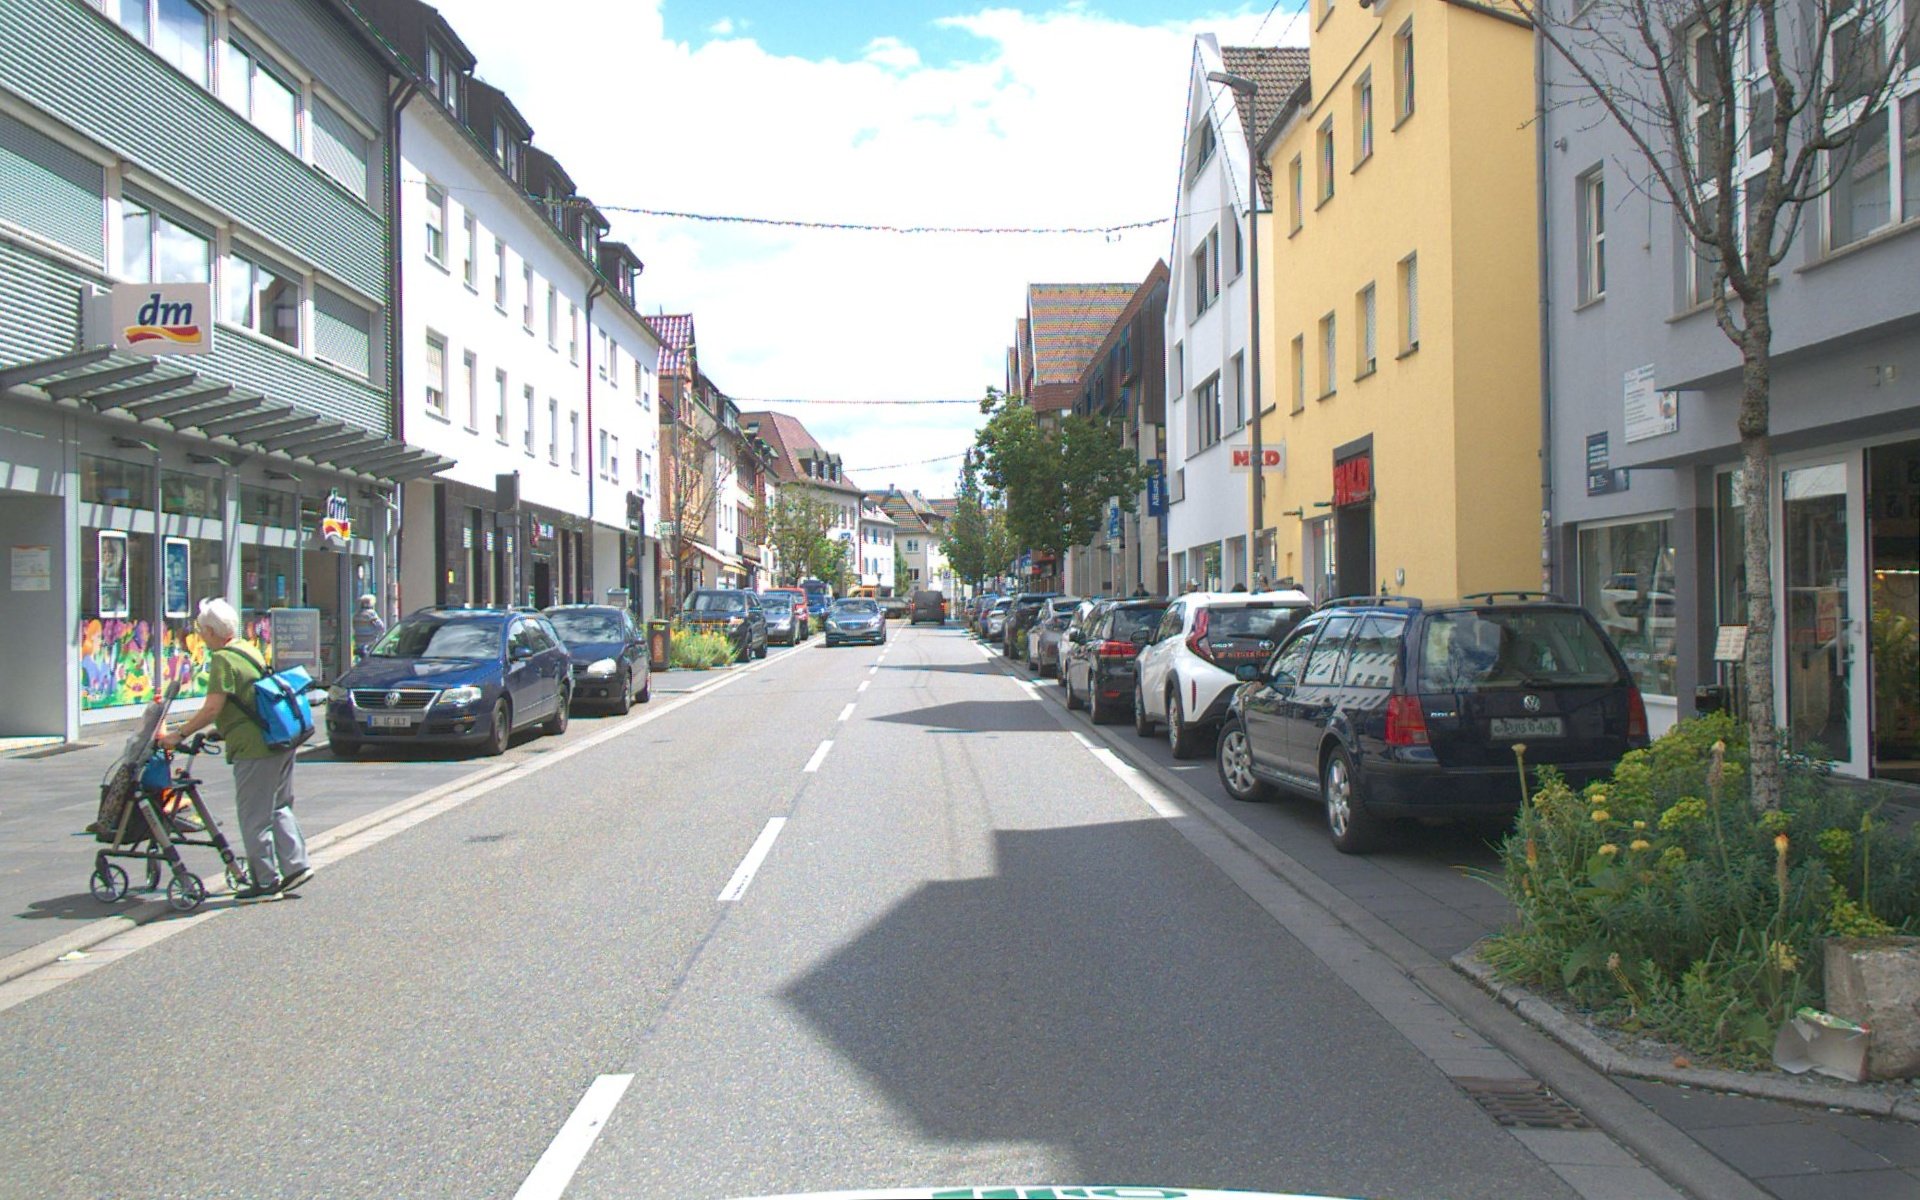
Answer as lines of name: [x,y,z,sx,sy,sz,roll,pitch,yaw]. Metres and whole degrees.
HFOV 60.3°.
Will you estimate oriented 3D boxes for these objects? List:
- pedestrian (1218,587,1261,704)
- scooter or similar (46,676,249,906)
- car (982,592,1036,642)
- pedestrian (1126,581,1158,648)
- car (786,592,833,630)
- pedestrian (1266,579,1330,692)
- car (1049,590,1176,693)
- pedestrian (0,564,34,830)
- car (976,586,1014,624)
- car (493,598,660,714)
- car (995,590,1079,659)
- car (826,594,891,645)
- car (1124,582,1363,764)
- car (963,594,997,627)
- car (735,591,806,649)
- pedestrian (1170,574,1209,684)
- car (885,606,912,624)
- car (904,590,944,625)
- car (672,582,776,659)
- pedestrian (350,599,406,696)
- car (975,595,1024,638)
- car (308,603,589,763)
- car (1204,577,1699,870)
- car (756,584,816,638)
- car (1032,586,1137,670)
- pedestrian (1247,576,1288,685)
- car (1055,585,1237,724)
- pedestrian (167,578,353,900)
pedestrian: [4.557,0.740,26.976,0.576,1.873,0.576,1,-1,-1]
scooter or similar: [-4.284,0.994,8.767,0.766,1.145,0.629,1,-1,-6]
car: [1.617,0.576,55.827,1.686,1.604,4.428,1,-1,0]
pedestrian: [4.845,0.381,44.086,0.726,1.768,0.757,1,-1,-1]
car: [-6.772,0.483,74.682,1.763,1.626,4.388,0,0,-1]
pedestrian: [4.837,0.501,23.711,0.734,1.580,0.725,-1,-1,-2]
car: [2.391,0.649,27.013,1.597,1.502,4.957,1,-1,0]
pedestrian: [-6.713,0.650,11.131,0.537,1.788,0.728,1,-1,-5]
car: [1.505,0.208,72.055,1.576,1.559,3.794,-1,0,0]
car: [-5.499,0.753,24.194,1.755,1.529,4.174,1,0,-5]
car: [1.874,0.602,41.162,1.687,1.604,4.106,1,-1,-3]
car: [-3.268,0.639,53.962,1.866,1.591,4.644,1,-1,-1]
car: [2.728,0.680,16.671,1.655,1.601,3.755,1,-1,-2]
car: [0.999,0.516,84.353,1.577,1.521,3.794,-4,0,0]
car: [-6.172,0.670,54.334,1.779,1.786,4.463,1,-1,0]
pedestrian: [4.001,0.504,28.845,0.576,1.873,0.576,1,-1,-1]
car: [-5.306,1.284,143.270,1.590,1.512,3.808,1,-1,10]
car: [-2.028,0.430,91.503,2.000,1.881,4.995,1,-1,-3]
car: [-5.787,0.505,41.135,1.778,1.786,4.669,1,-1,1]
pedestrian: [-9.032,0.739,25.679,0.641,1.480,0.563,1,-1,-1]
car: [1.447,0.613,61.251,1.686,1.520,4.108,1,-1,0]
car: [-5.483,0.809,18.378,1.754,1.539,4.711,0,0,-2]
car: [2.950,0.677,10.969,1.656,1.465,4.291,-3,0,-5]
car: [-6.492,0.437,62.200,1.779,1.922,4.840,1,-1,-1]
car: [2.342,0.534,32.074,1.686,1.502,4.353,1,-1,0]
pedestrian: [5.328,0.530,28.691,0.576,1.873,0.576,1,-1,-1]
car: [2.271,0.604,21.251,1.655,1.497,4.522,1,1,-2]
pedestrian: [-3.712,0.721,8.820,0.717,1.646,0.650,1,-1,-6]
